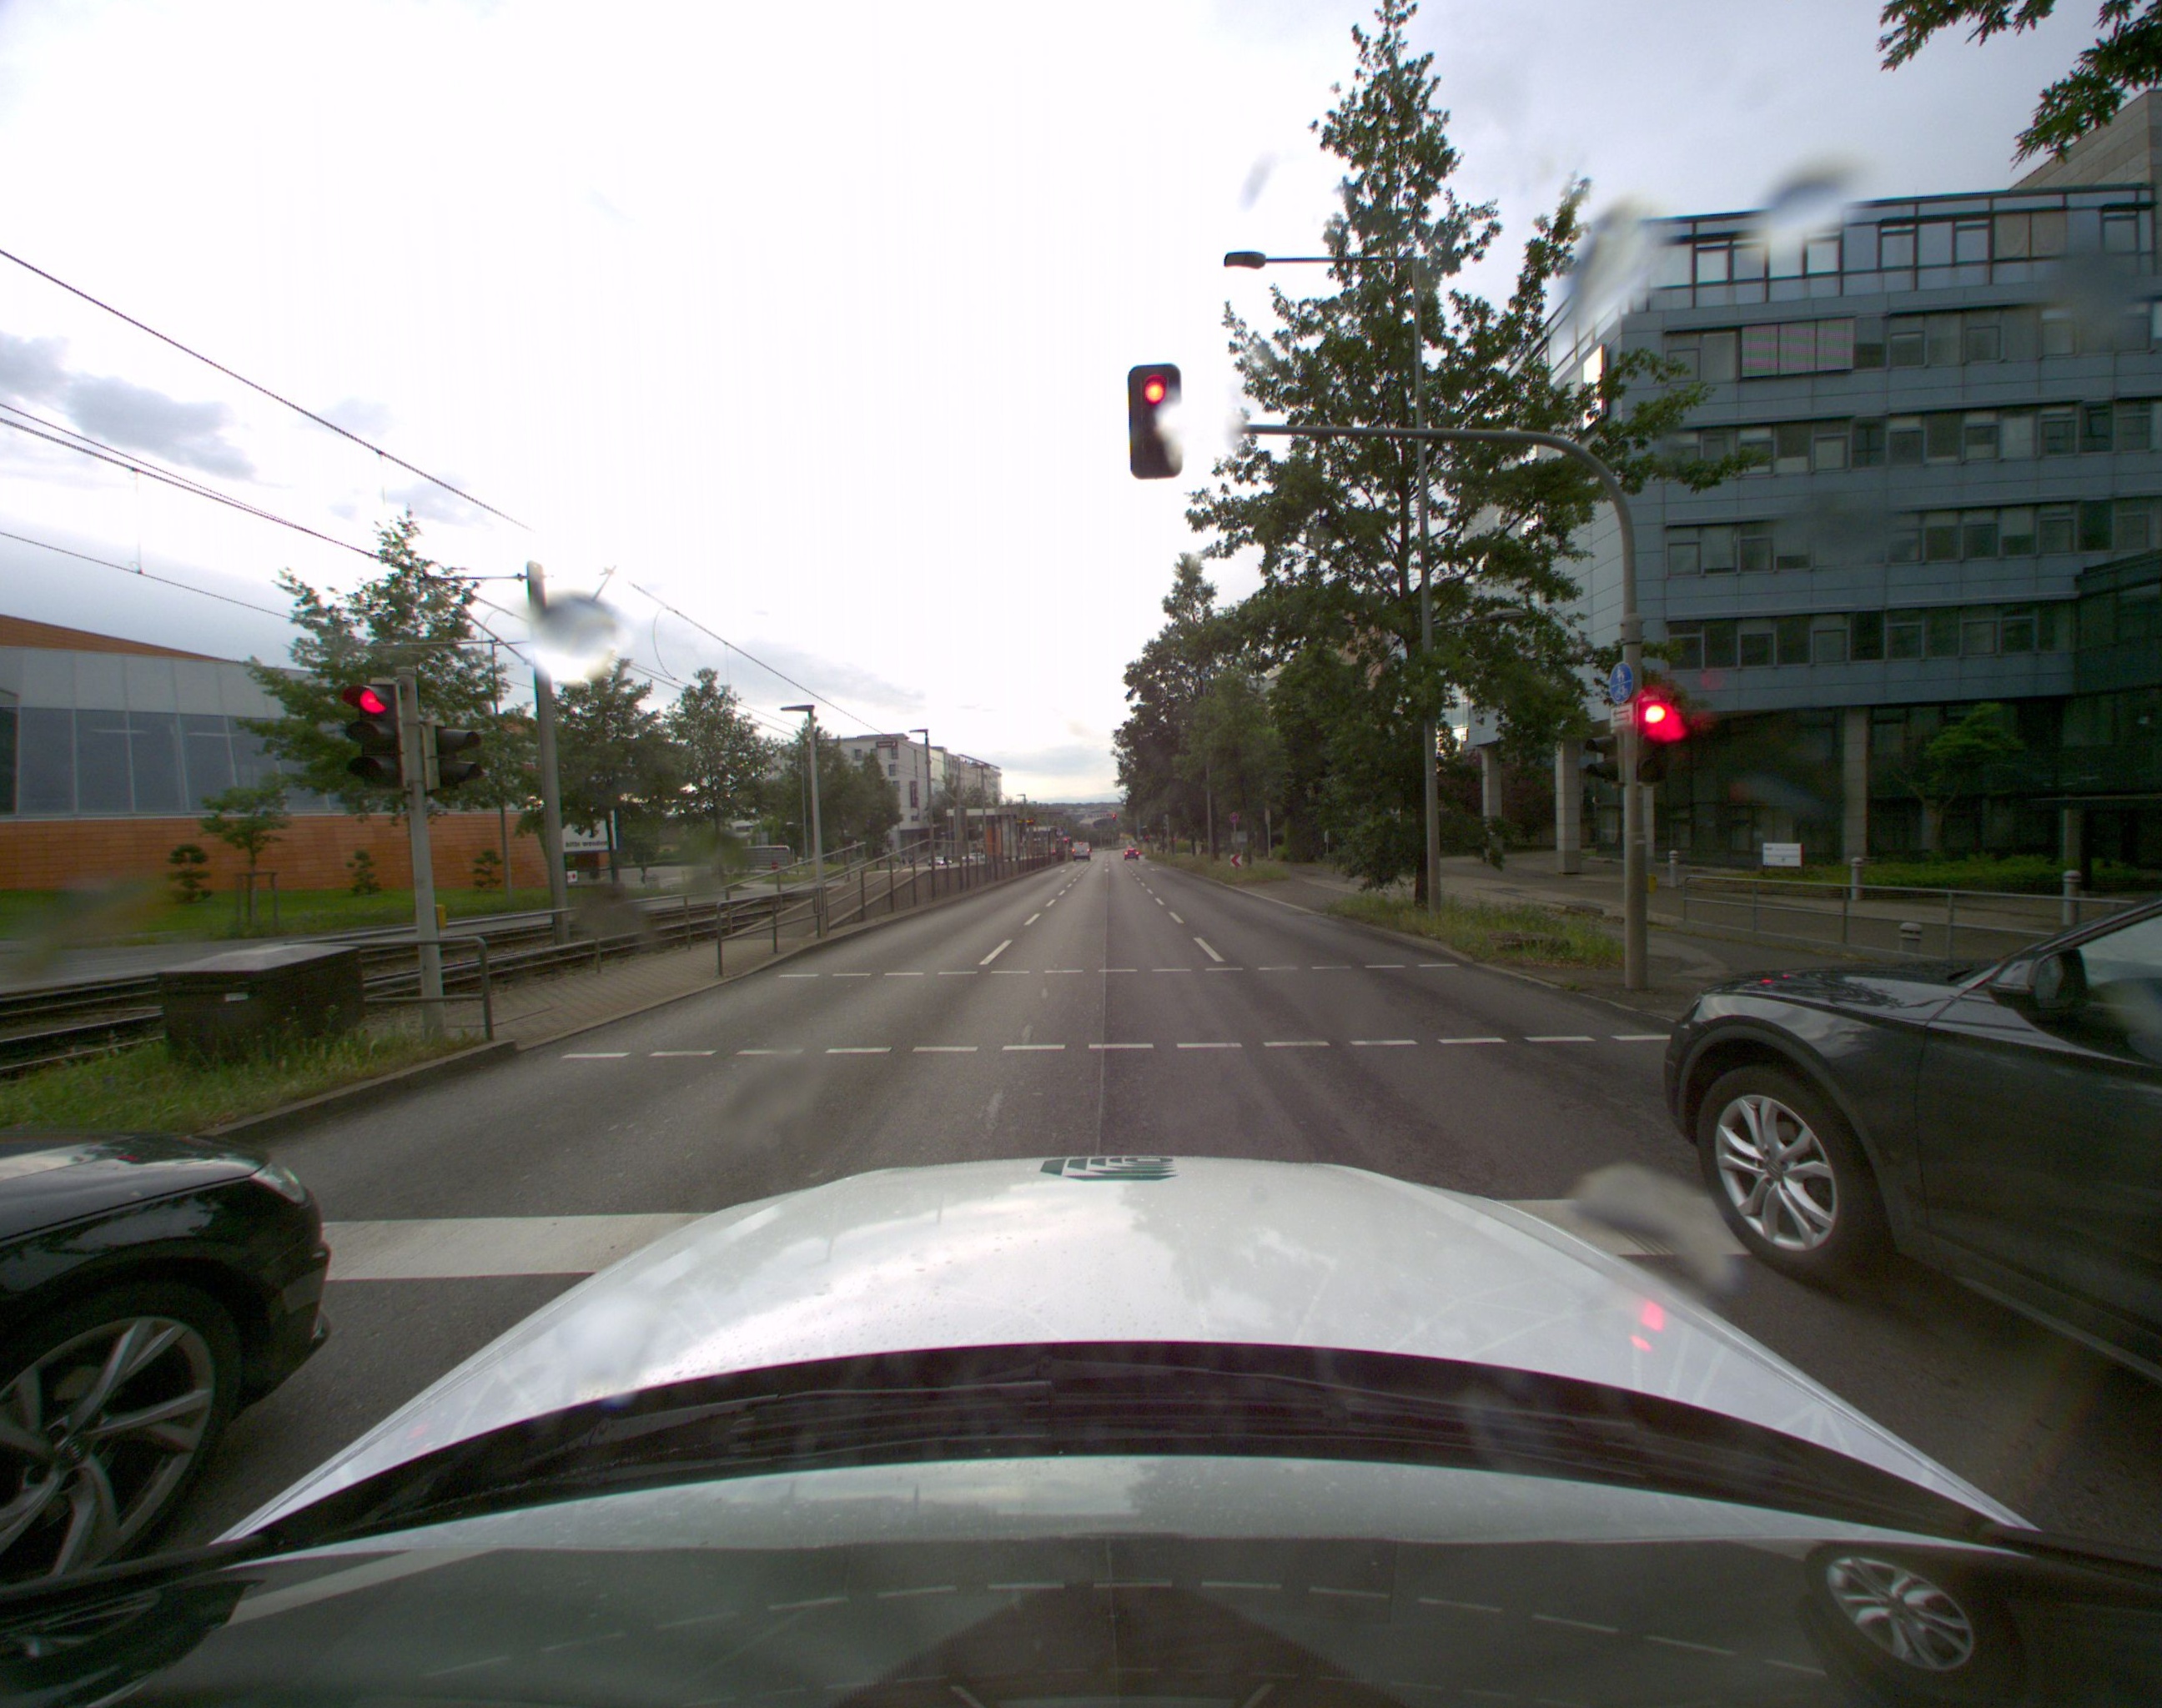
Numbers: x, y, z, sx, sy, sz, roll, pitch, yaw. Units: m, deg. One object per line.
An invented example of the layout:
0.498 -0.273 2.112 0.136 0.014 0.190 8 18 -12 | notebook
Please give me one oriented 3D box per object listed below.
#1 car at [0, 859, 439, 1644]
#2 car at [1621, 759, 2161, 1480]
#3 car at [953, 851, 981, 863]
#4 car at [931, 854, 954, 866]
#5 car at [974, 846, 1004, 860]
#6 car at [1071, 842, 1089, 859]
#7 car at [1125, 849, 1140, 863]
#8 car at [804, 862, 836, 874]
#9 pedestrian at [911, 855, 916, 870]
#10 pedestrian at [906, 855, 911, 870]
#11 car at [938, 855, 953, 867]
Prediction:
-2.971 0.779 0.298 1.774 1.466 4.515 -1 0 2 | car
3.297 0.578 1.432 1.811 1.612 4.472 -1 0 2 | car
-17.408 0.455 124.491 4.094 1.436 1.648 -4 0 -13 | car
-19.168 0.882 112.601 1.662 1.436 3.839 -4 0 -34 | car
-13.536 -0.112 120.121 4.011 2.013 1.743 -2 0 -29 | car
-0.077 -0.457 101.646 2.085 2.053 4.608 -1 0 2 | car
6.499 0.257 102.819 1.767 1.691 3.847 -1 0 2 | car
-31.102 1.691 96.997 3.341 1.387 1.440 -1 0 18 | car
-22.020 1.130 107.039 0.473 1.920 0.490 -1 0 1 | pedestrian
-22.564 1.138 106.641 0.473 1.920 0.490 -1 0 1 | pedestrian
-17.381 0.871 104.528 1.651 1.436 3.865 -4 0 -11 | car
